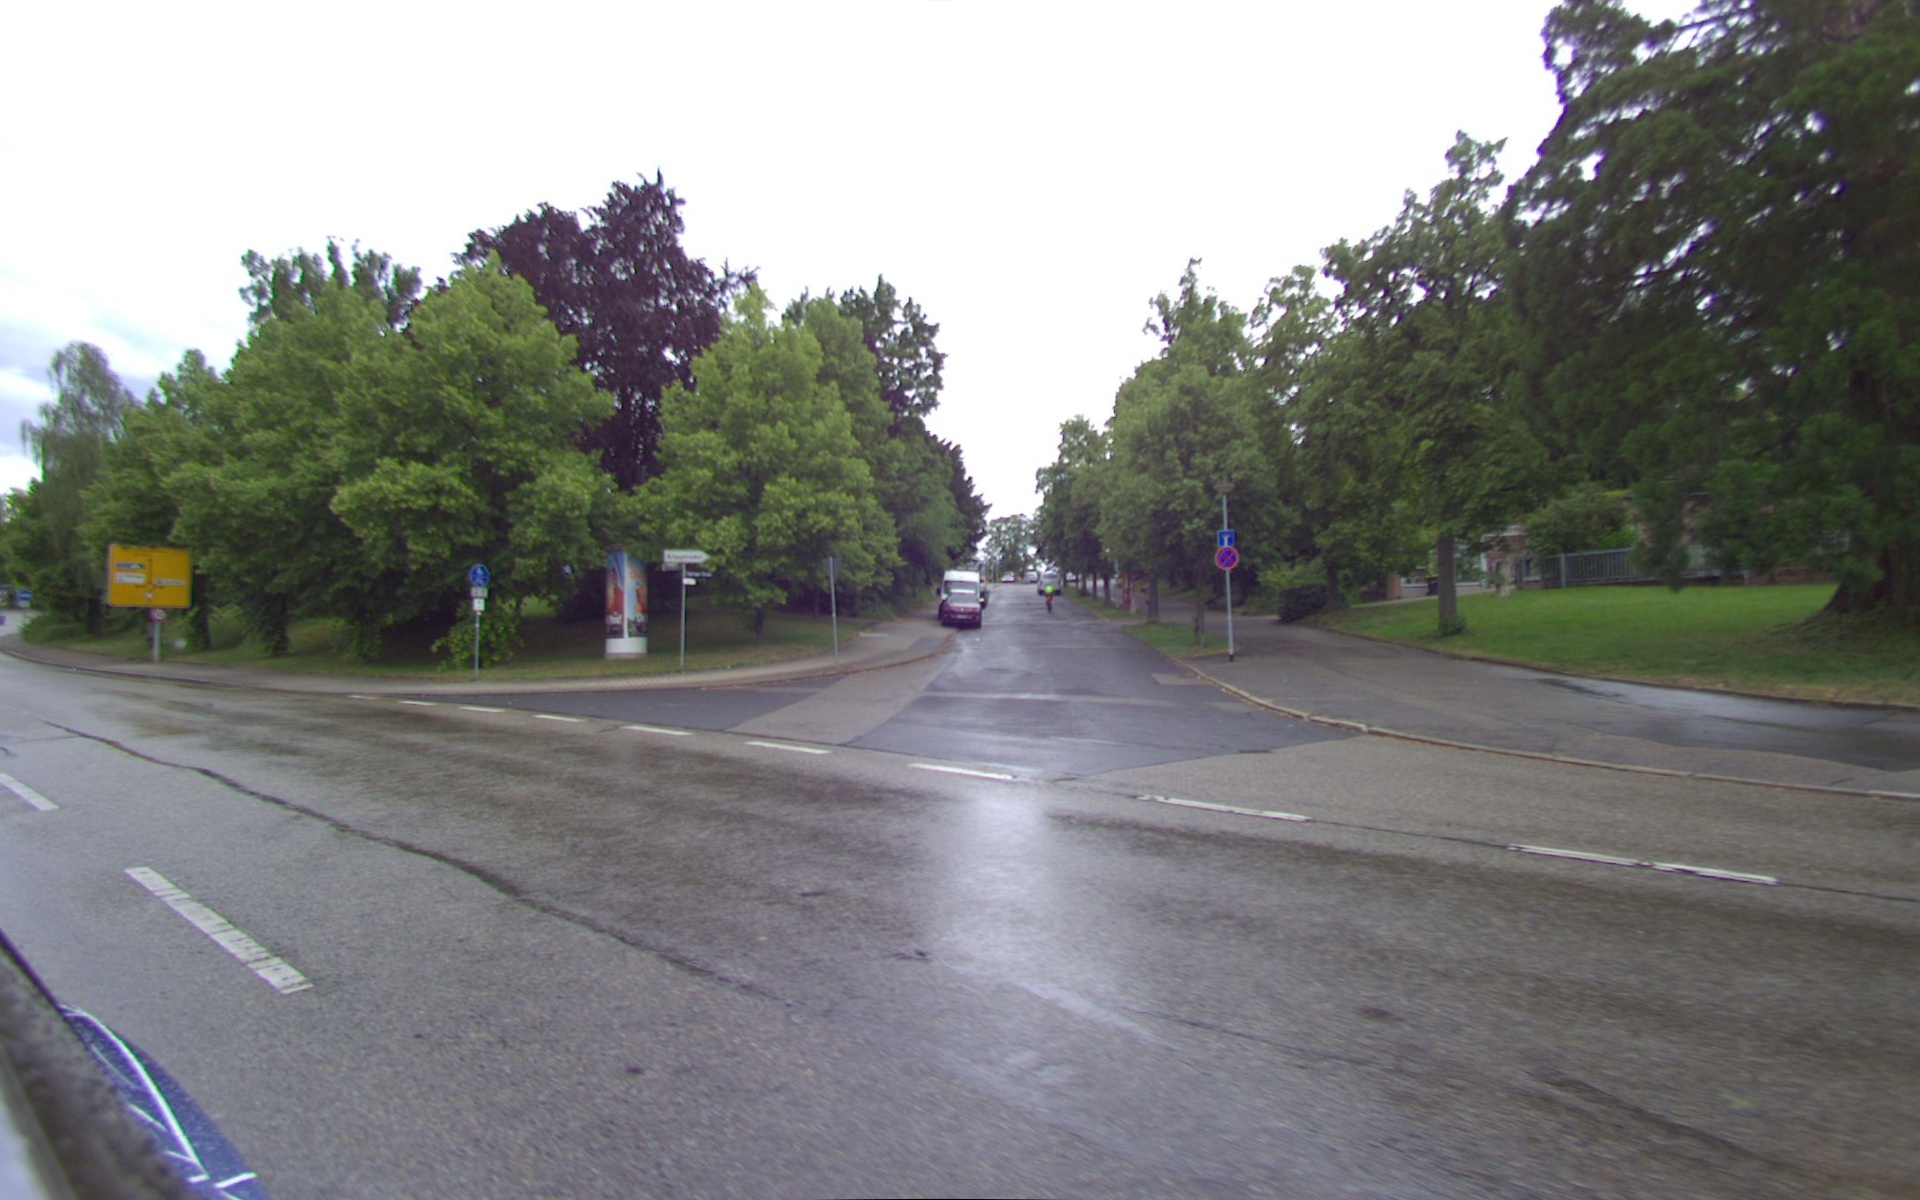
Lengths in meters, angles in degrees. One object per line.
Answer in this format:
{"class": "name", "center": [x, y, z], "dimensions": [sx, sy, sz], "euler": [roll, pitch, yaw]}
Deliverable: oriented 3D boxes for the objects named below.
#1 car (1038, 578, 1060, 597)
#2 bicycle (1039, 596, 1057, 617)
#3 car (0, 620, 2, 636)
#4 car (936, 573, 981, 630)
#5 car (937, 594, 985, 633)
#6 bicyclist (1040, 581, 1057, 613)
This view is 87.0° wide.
{"class": "car", "center": [8.217, -1.154, 93.443], "dimensions": [1.853, 1.682, 4.194], "euler": [-1, 0, 8]}
{"class": "bicycle", "center": [5.082, 0.394, 58.436], "dimensions": [0.842, 1.164, 2.038], "euler": [2, -1, 0]}
{"class": "car", "center": [-82.333, 2.305, 85.090], "dimensions": [1.698, 1.394, 4.151], "euler": [4, -4, -32]}
{"class": "car", "center": [-0.029, 0.107, 51.557], "dimensions": [2.128, 2.720, 5.668], "euler": [-1, -1, 1]}
{"class": "car", "center": [-0.008, 0.606, 46.054], "dimensions": [1.948, 1.681, 4.003], "euler": [-1, -1, -3]}
{"class": "bicyclist", "center": [5.095, -0.154, 58.463], "dimensions": [0.842, 1.769, 1.285], "euler": [1, -1, 0]}
